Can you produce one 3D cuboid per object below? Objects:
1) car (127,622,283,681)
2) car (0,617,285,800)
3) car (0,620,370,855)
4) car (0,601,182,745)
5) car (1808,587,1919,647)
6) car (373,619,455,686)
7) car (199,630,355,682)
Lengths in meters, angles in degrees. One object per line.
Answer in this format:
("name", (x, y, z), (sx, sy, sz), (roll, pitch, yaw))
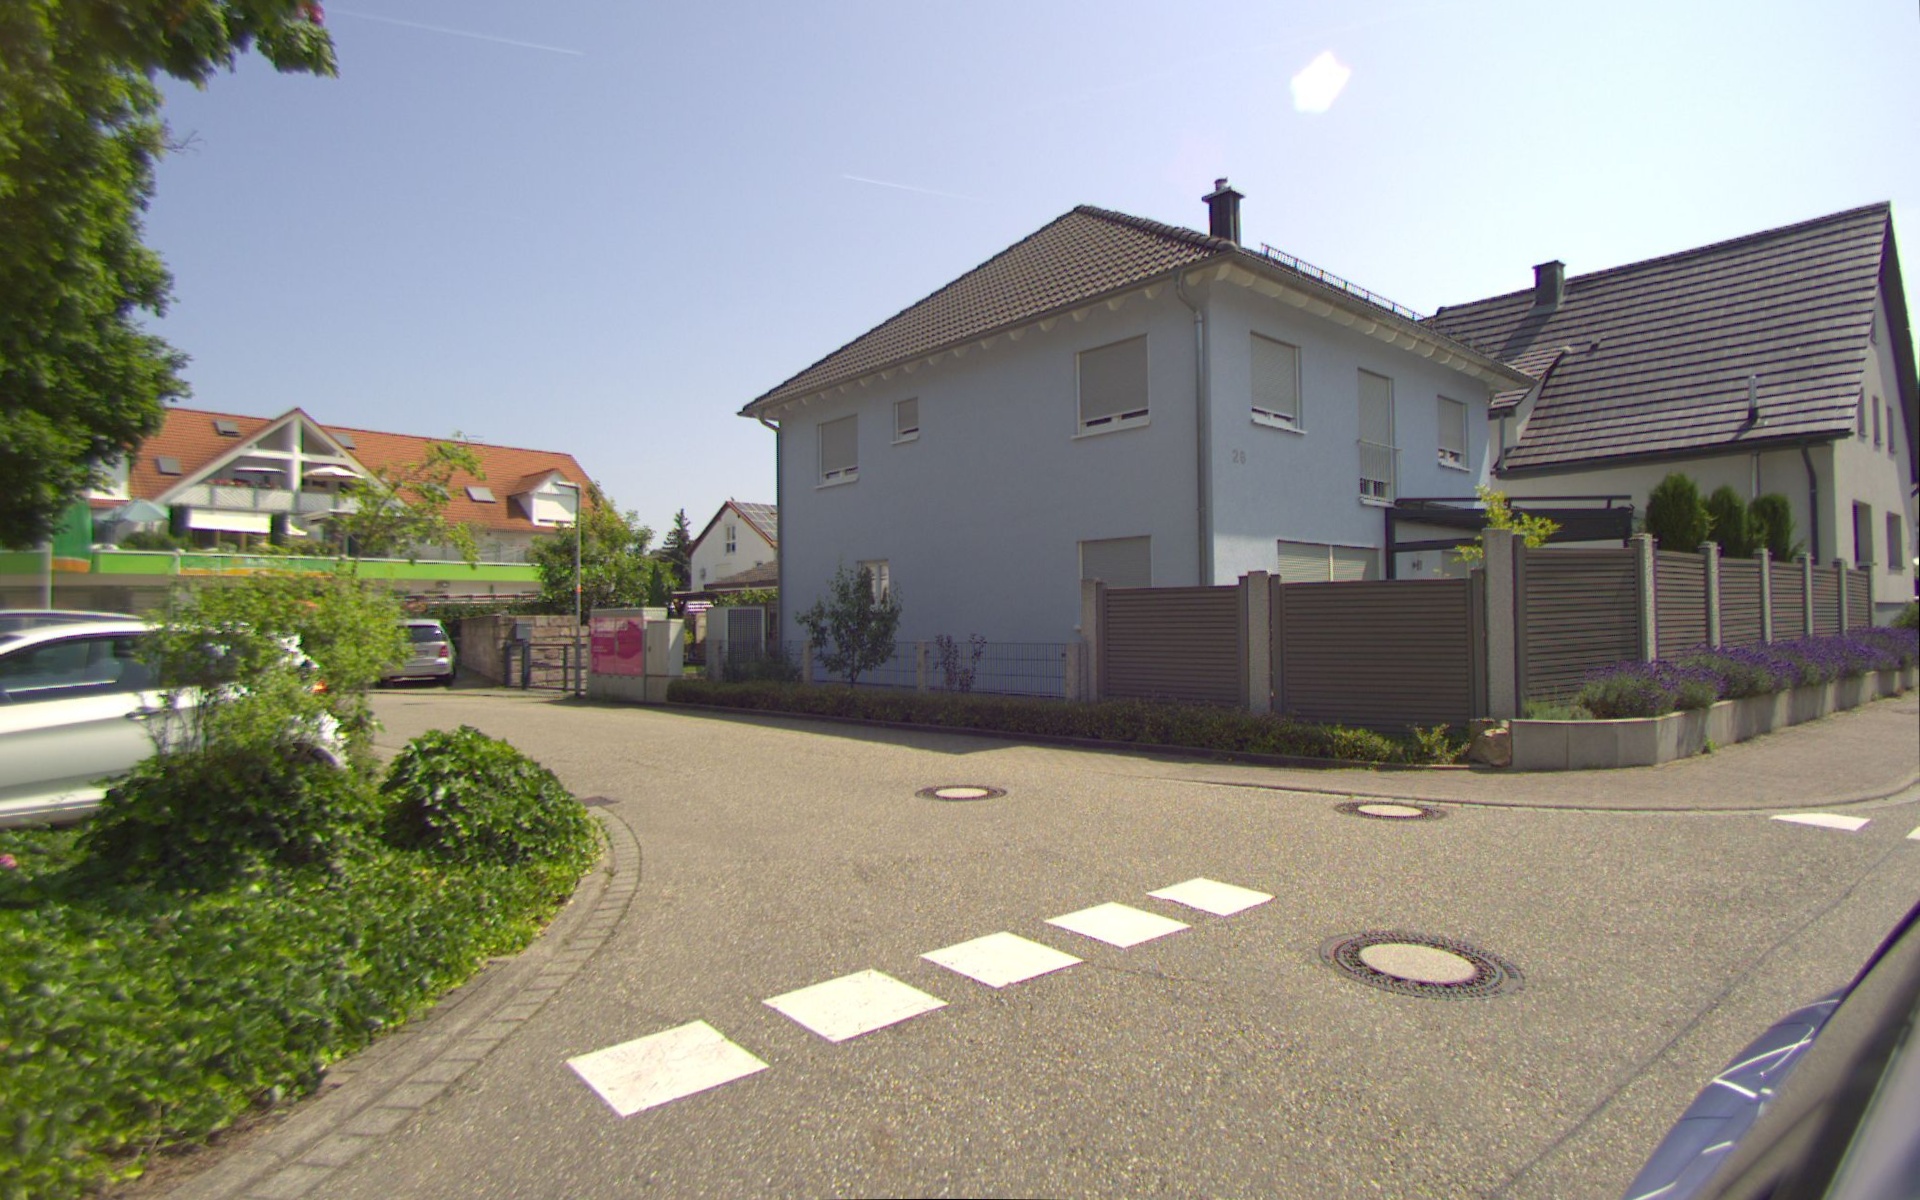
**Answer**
("car", (-22.257, 1.461, 30.038), (1.671, 1.620, 3.999), (0, -1, 0))
("car", (-8.345, 0.898, 8.819), (1.589, 1.492, 3.807), (-2, -2, 40))
("car", (-6.360, 0.876, 7.102), (1.590, 1.464, 3.513), (-1, -2, 41))
("car", (-12.106, 0.873, 12.390), (1.588, 1.705, 3.811), (-2, -2, 38))
("car", (24.483, 0.431, 26.193), (1.735, 1.493, 3.663), (1, 0, -41))
("car", (-13.604, 1.251, 25.389), (1.668, 1.521, 4.102), (0, -1, -27))
("car", (-19.317, 1.534, 28.851), (1.672, 1.323, 3.997), (0, -1, 2))
